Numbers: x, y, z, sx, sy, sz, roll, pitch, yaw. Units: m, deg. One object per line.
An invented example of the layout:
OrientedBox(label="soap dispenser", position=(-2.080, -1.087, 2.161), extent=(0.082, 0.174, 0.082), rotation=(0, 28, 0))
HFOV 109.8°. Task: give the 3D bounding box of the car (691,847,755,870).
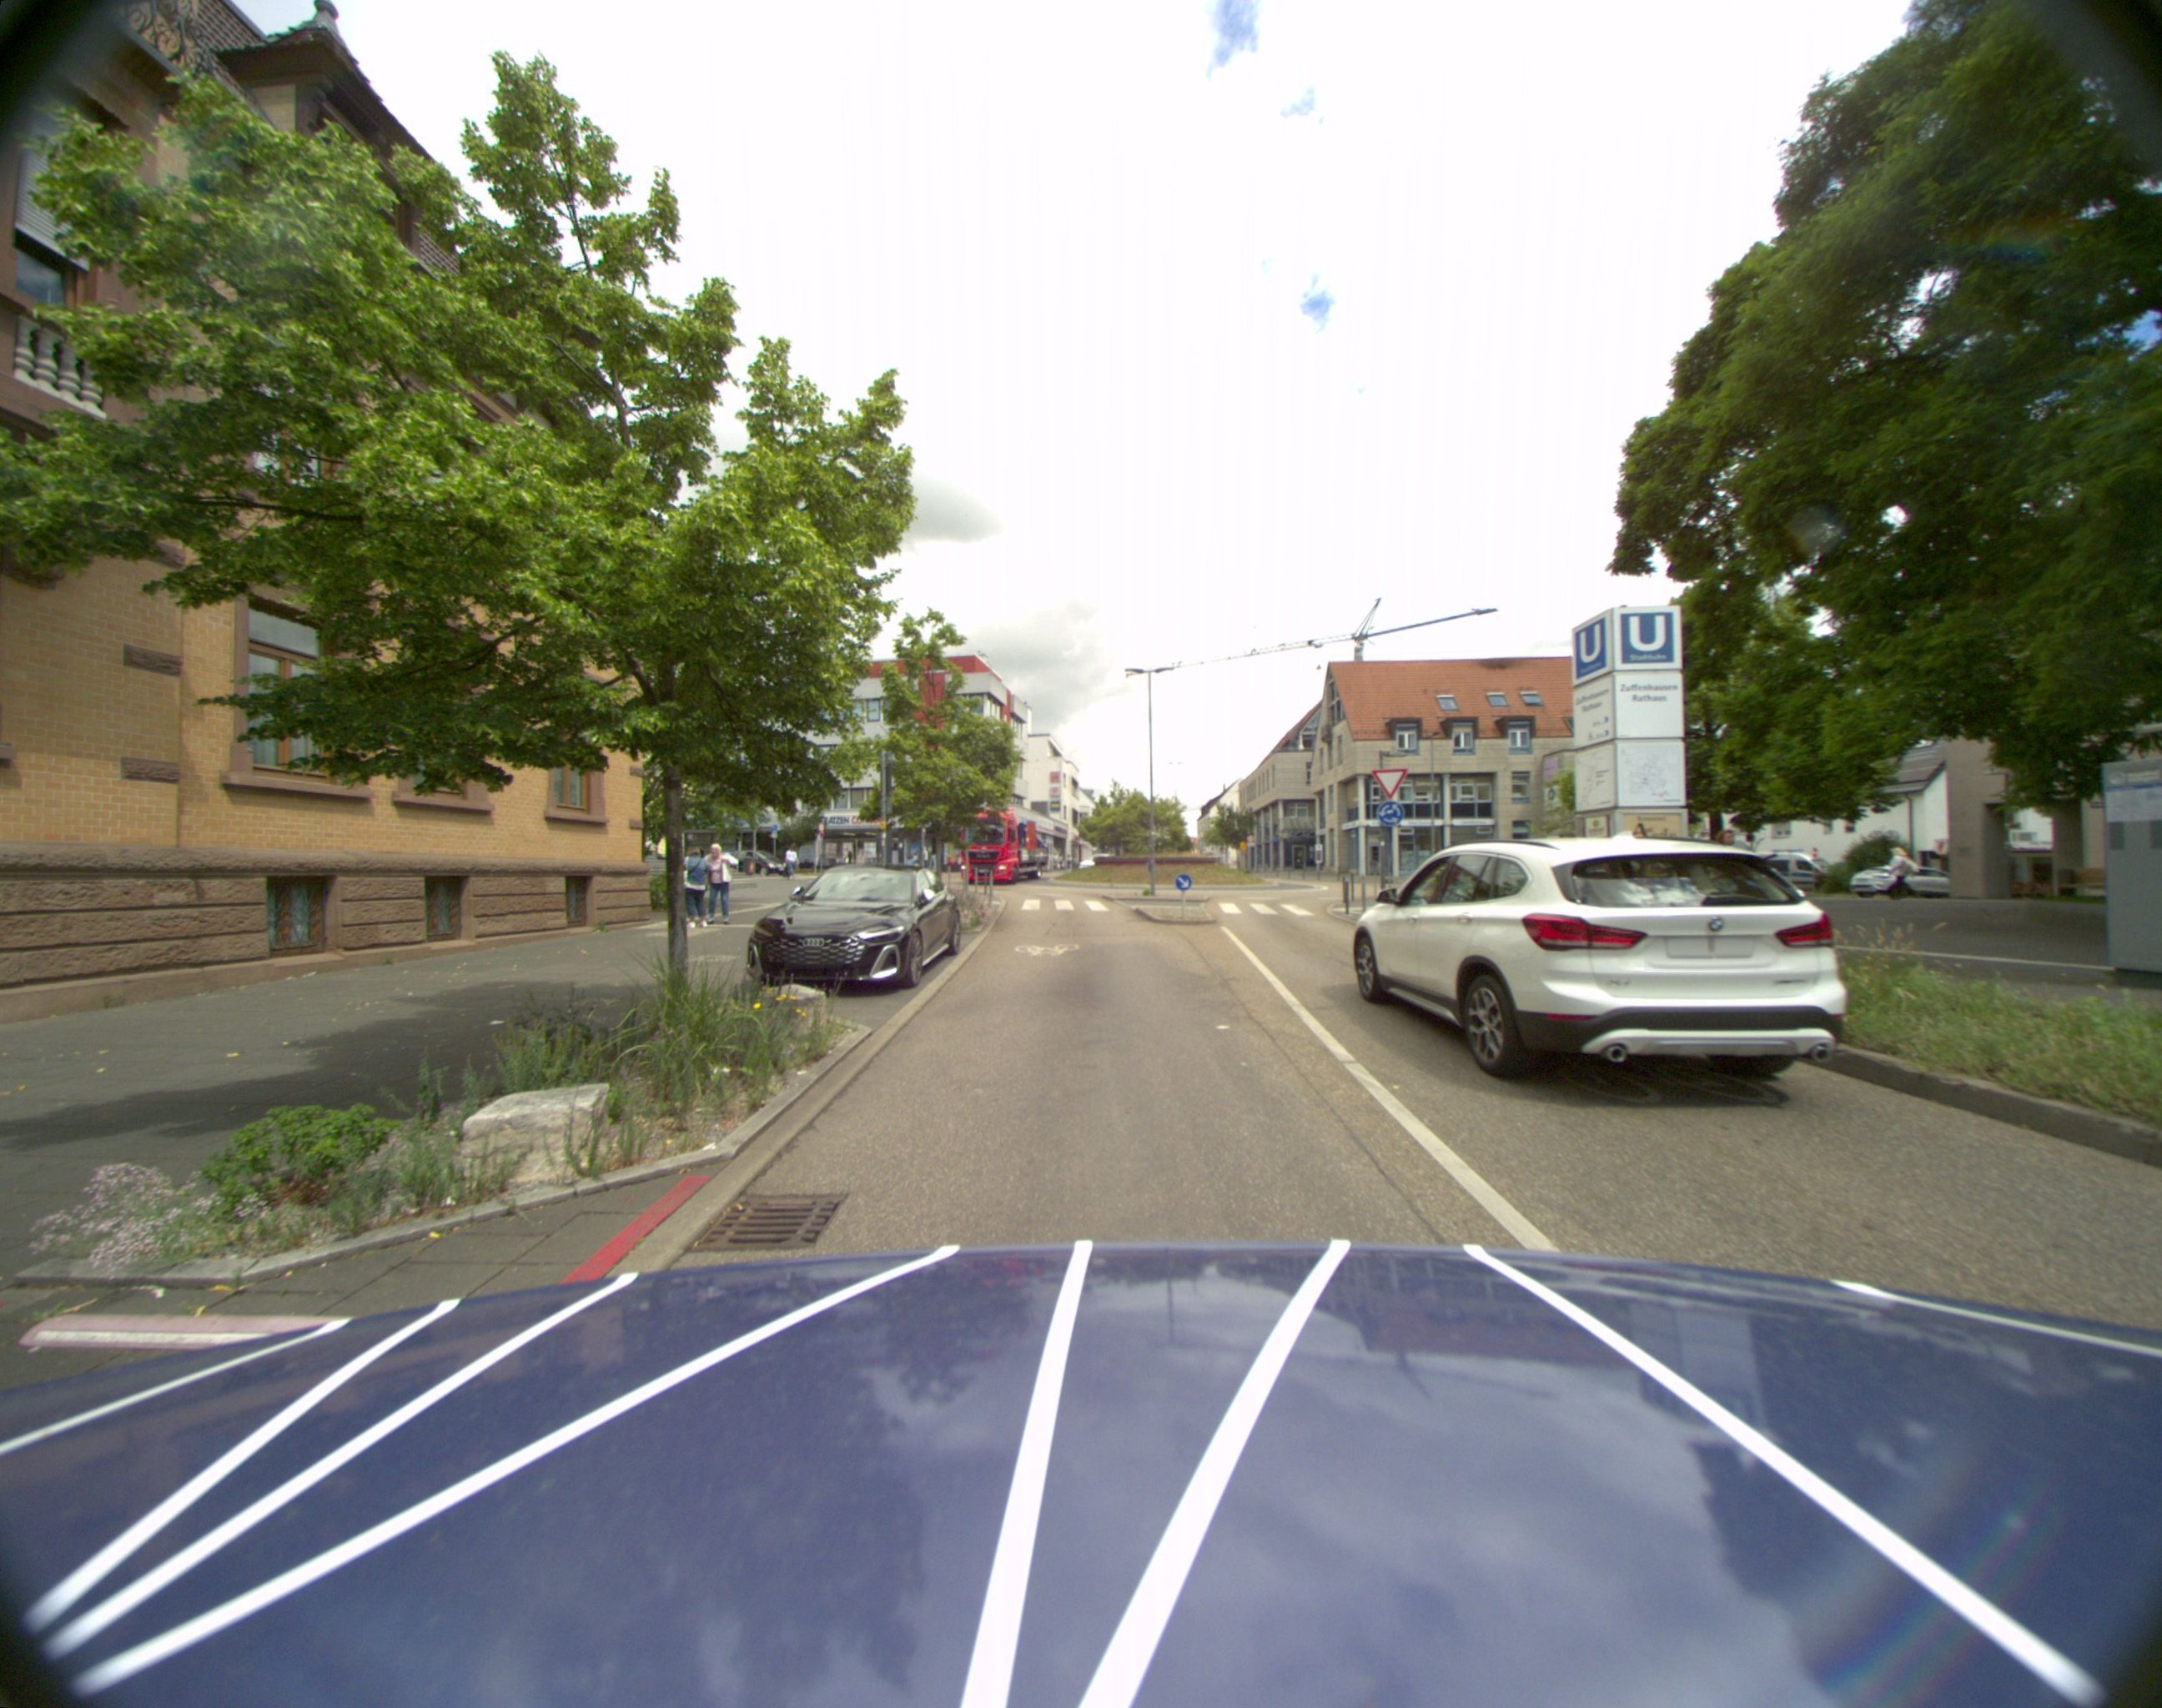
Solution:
OrientedBox(label="car", position=(-26.122, 0.325, 55.559), extent=(3.825, 1.554, 1.820), rotation=(-1, 1, 10))

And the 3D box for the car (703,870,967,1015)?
OrientedBox(label="car", position=(-2.916, 0.967, 10.284), extent=(1.998, 1.405, 4.736), rotation=(0, 0, 0))

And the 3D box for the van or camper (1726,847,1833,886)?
OrientedBox(label="van or camper", position=(44.894, 0.775, 48.954), extent=(2.002, 2.368, 4.666), rotation=(-1, 0, -24))

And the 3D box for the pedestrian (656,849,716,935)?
OrientedBox(label="pedestrian", position=(-7.743, 0.732, 14.908), extent=(0.738, 1.630, 0.676), rotation=(-1, 2, 25))

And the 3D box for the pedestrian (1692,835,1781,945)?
OrientedBox(label="pedestrian", position=(9.983, 0.541, 11.603), extent=(0.661, 1.619, 0.800), rotation=(-1, -1, 8))

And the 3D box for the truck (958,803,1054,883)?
OrientedBox(label="truck", position=(-3.842, -0.610, 42.219), extent=(2.679, 3.821, 10.853), rotation=(-1, 1, 8))

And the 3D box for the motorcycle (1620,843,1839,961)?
OrientedBox(label="motorcycle", position=(8.126, 0.584, 9.571), extent=(2.194, 1.441, 0.648), rotation=(0, 1, -1))

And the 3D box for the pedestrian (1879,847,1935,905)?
OrientedBox(label="pedestrian", position=(24.532, 0.647, 22.577), extent=(0.690, 1.665, 0.817), rotation=(-1, -1, -3))

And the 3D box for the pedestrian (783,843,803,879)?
OrientedBox(label="pedestrian", position=(-14.181, 0.340, 37.413), extent=(0.768, 1.721, 0.751), rotation=(-2, 2, -32))

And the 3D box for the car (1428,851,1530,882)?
OrientedBox(label="car", position=(22.554, 0.688, 43.231), extent=(4.882, 1.644, 1.748), rotation=(-1, 1, 17))

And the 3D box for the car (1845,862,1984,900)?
OrientedBox(label="car", position=(37.740, 1.217, 34.498), extent=(4.070, 1.530, 1.747), rotation=(-1, 1, 8))

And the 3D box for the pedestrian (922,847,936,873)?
OrientedBox(label="pedestrian", position=(-11.234, 0.456, 56.180), extent=(0.684, 1.902, 0.767), rotation=(-1, 1, 9))

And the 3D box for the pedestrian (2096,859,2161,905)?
OrientedBox(label="pedestrian", position=(27.876, 0.739, 20.208), extent=(0.817, 1.168, 0.691), rotation=(-1, -1, -4))

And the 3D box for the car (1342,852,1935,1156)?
OrientedBox(label="car", position=(3.625, 0.798, 6.067), extent=(1.827, 1.575, 4.166), rotation=(-1, 0, 3))

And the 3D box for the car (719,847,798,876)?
OrientedBox(label="car", position=(-20.006, 0.470, 47.178), extent=(3.995, 1.641, 2.001), rotation=(-2, 0, 6))

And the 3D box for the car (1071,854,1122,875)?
OrientedBox(label="car", position=(1.133, 0.735, 54.223), extent=(1.812, 1.391, 4.061), rotation=(-1, 1, 30))

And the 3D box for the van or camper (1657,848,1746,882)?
OrientedBox(label="van or camper", position=(45.382, 0.774, 55.691), extent=(2.002, 2.368, 4.666), rotation=(-1, 0, -24))

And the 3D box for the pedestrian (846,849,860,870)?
OrientedBox(label="pedestrian", position=(-17.424, 0.383, 58.060), extent=(0.684, 1.574, 0.767), rotation=(-1, 1, 9))

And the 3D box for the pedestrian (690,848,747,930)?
OrientedBox(label="pedestrian", position=(-7.479, 0.708, 15.706), extent=(0.697, 1.649, 0.741), rotation=(-1, 1, 11))
